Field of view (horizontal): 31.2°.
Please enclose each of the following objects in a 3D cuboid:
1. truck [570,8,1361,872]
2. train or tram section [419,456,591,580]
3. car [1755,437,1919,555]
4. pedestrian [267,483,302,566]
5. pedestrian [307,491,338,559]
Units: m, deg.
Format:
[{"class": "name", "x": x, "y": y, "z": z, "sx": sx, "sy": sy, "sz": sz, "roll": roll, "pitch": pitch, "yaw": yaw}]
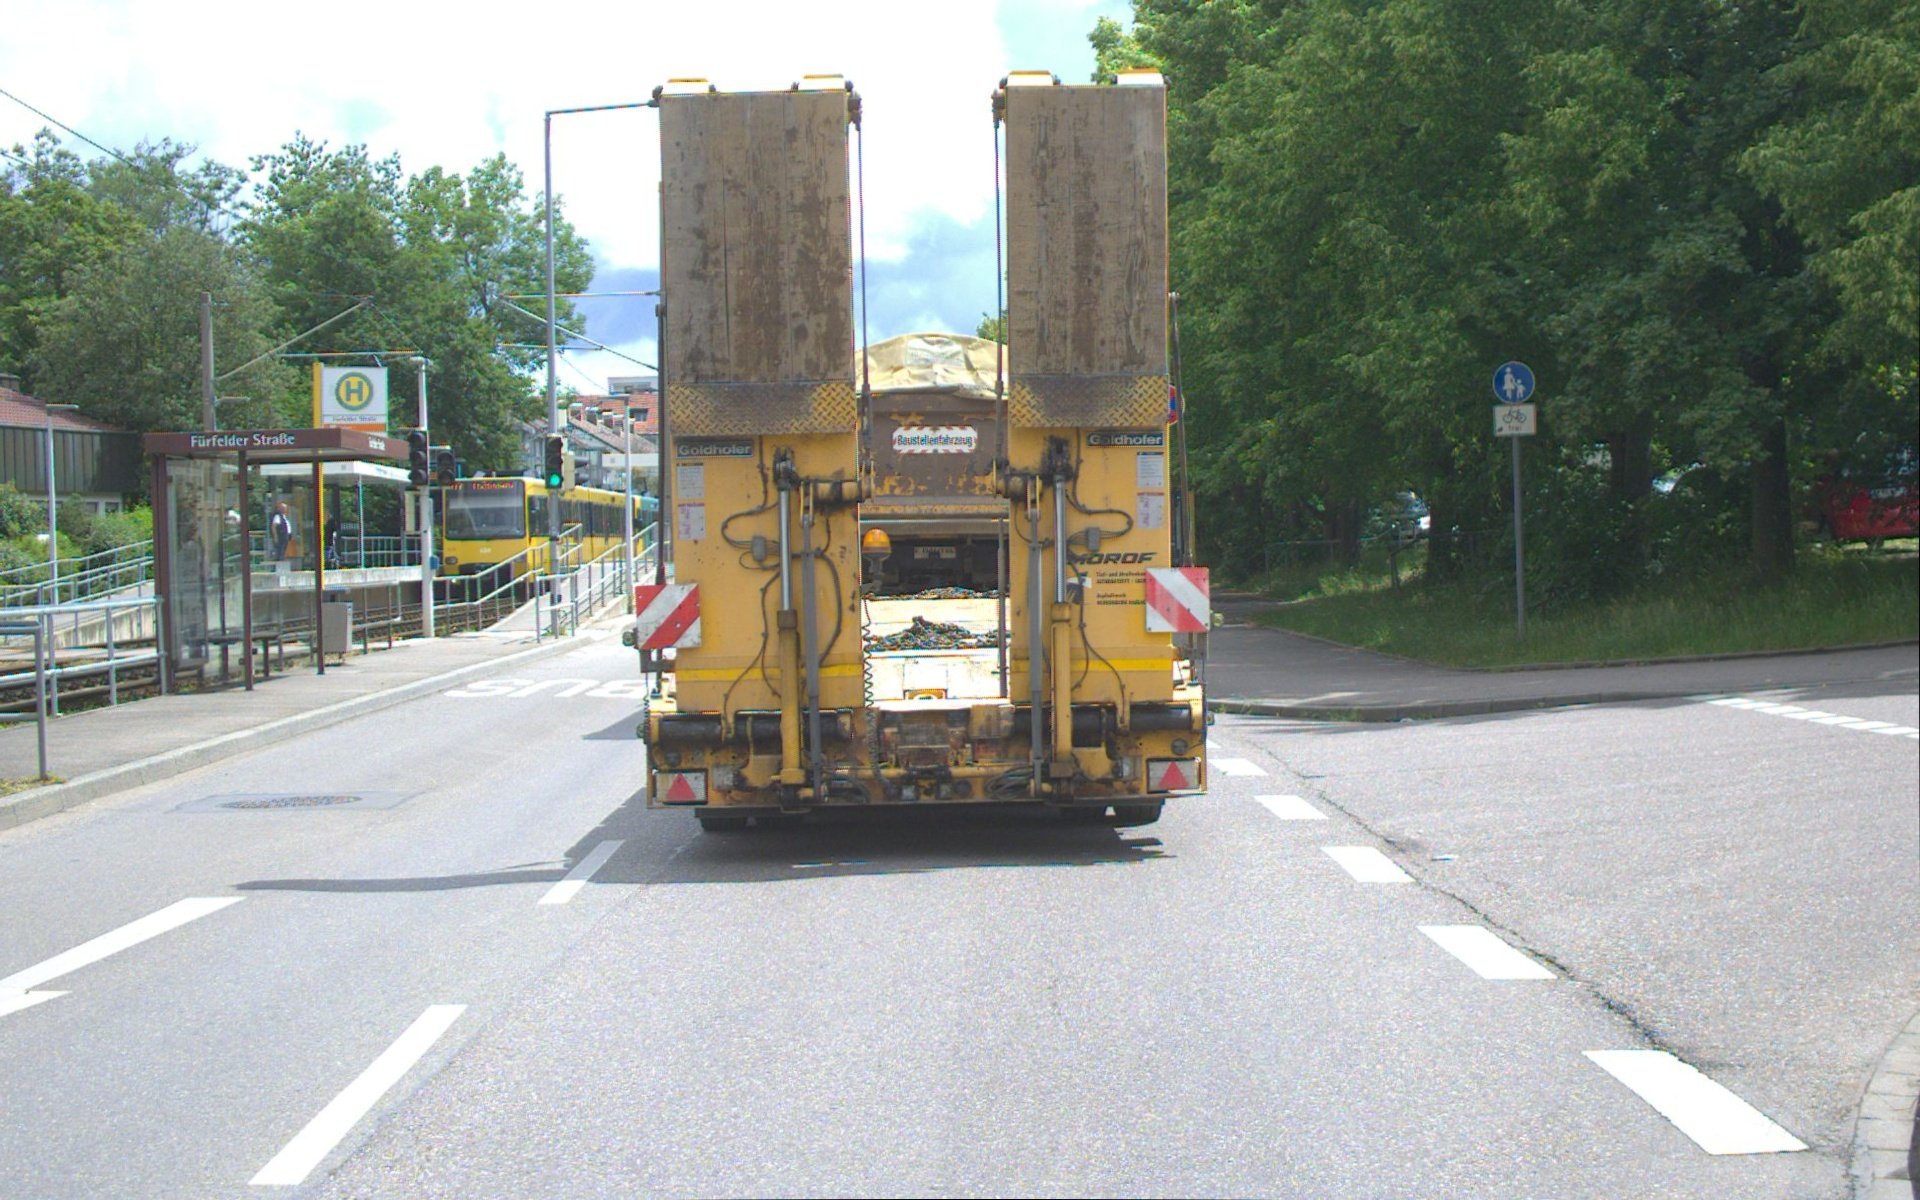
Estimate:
[{"class": "truck", "x": -0.357, "y": -0.823, "z": 21.801, "sx": 3.402, "sy": 3.719, "sz": 13.741, "roll": -1, "pitch": 1, "yaw": -3}, {"class": "train or tram section", "x": -13.852, "y": -2.484, "z": 106.504, "sx": 3.108, "sy": 3.453, "sz": 18.827, "roll": 1, "pitch": 1, "yaw": -1}, {"class": "car", "x": 12.242, "y": -1.416, "z": 47.258, "sx": 1.661, "sy": 1.495, "sz": 3.663, "roll": -3, "pitch": 1, "yaw": -1}, {"class": "pedestrian", "x": -16.593, "y": -1.852, "z": 84.492, "sx": 0.712, "sy": 2.007, "sz": 0.732, "roll": 1, "pitch": 1, "yaw": -3}, {"class": "pedestrian", "x": -15.940, "y": -1.876, "z": 86.000, "sx": 0.639, "sy": 1.701, "sz": 0.646, "roll": 1, "pitch": 1, "yaw": 0}]
